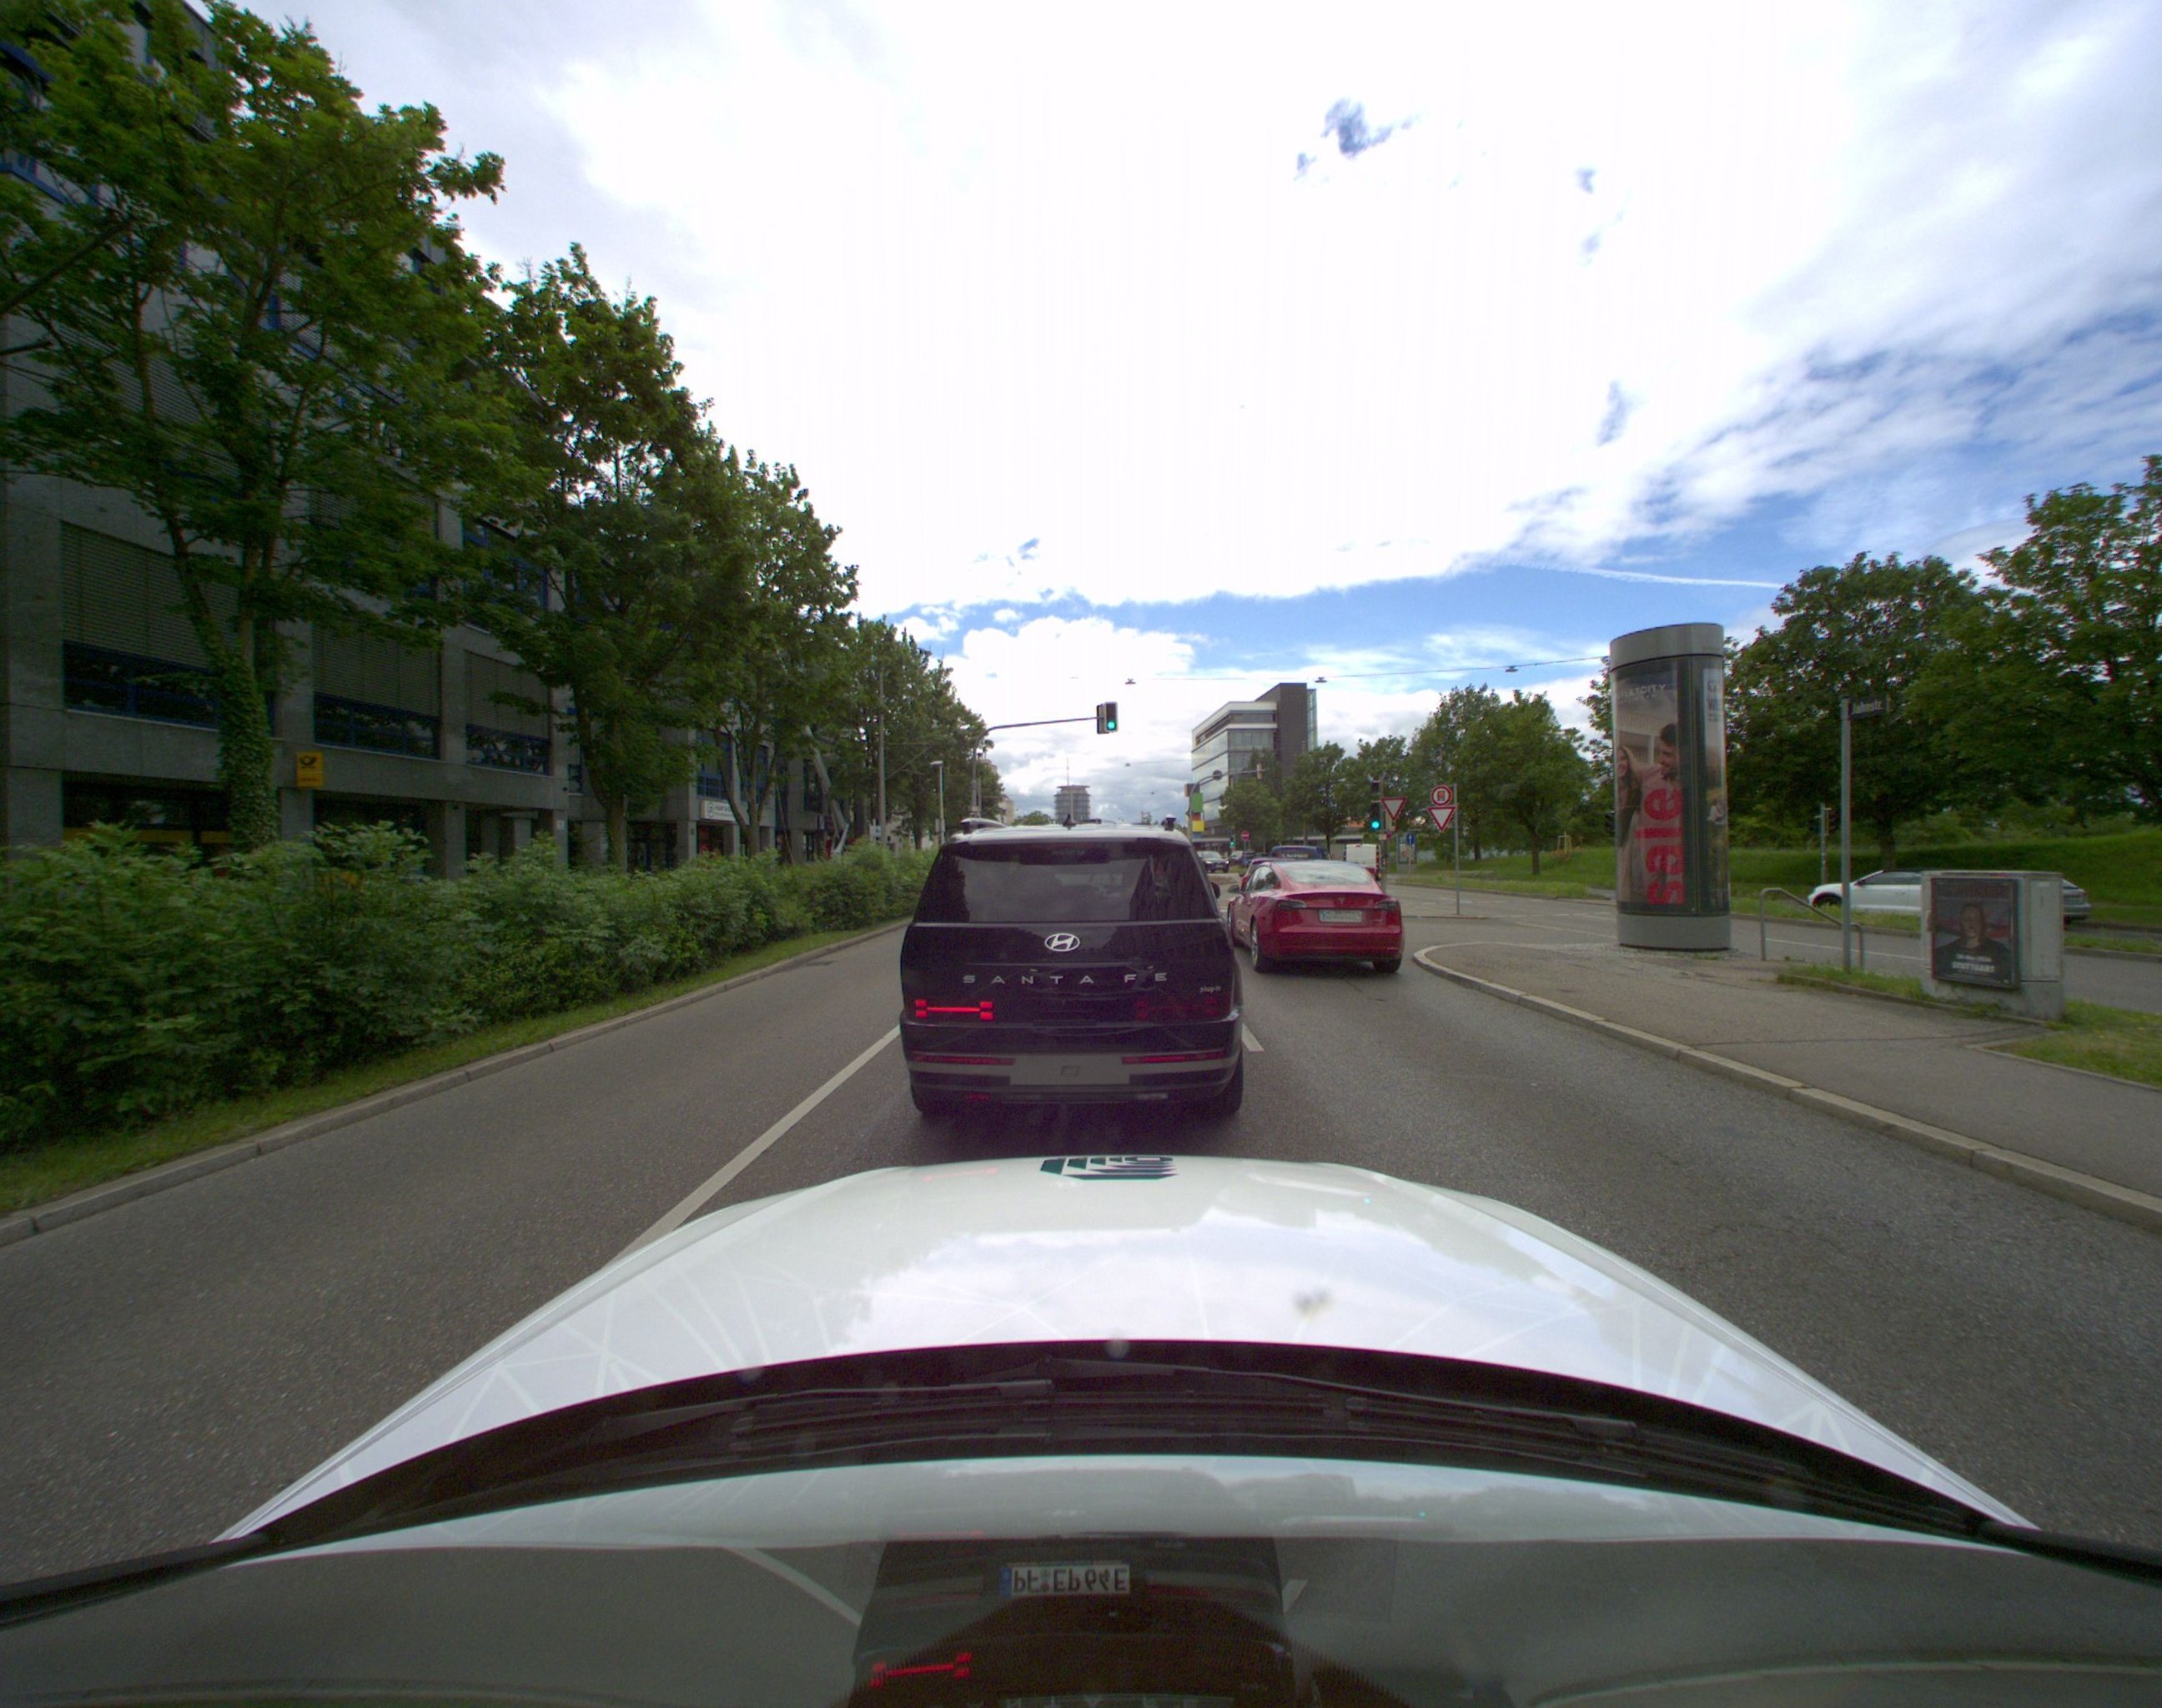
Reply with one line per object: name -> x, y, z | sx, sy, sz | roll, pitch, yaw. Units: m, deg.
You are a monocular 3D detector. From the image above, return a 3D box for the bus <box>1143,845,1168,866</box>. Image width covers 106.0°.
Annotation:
bus -> 12.109, 0.316, 133.145 | 2.958, 3.116, 9.238 | -2, -1, -1

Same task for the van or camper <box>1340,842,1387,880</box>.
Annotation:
van or camper -> 15.342, 0.337, 44.108 | 1.975, 1.917, 4.434 | 0, 1, 25

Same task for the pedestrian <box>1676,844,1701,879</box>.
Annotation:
pedestrian -> 28.920, 0.357, 38.779 | 0.539, 1.604, 0.702 | -5, 1, 0

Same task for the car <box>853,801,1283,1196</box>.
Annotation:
car -> 0.011, 0.631, 5.833 | 1.895, 1.731, 4.448 | 0, 0, 2

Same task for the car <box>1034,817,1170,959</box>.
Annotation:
car -> 0.534, 0.460, 13.709 | 1.892, 1.969, 4.644 | 0, 0, 6

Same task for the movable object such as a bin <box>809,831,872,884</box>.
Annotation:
movable object such as a bin -> -12.086, 0.167, 41.222 | 1.898, 2.531, 4.128 | 0, 0, 1

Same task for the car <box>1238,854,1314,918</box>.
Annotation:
car -> 4.923, 0.736, 20.806 | 1.733, 1.481, 3.731 | 0, 0, 12

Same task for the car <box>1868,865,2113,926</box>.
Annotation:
car -> 24.992, 1.069, 22.617 | 1.984, 1.442, 4.143 | 0, 0, -11

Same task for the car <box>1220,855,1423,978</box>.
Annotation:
car -> 3.194, 0.730, 11.755 | 1.865, 1.418, 4.447 | 0, 0, 3

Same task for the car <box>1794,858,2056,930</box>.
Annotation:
car -> 21.669, 0.943, 21.222 | 1.850, 1.529, 4.472 | 0, 1, -11

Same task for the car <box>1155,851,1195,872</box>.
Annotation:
car -> 6.729, 0.538, 58.585 | 1.782, 1.425, 4.382 | 0, 1, -9

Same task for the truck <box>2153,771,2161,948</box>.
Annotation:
truck -> 26.227, 0.157, 13.859 | 2.821, 3.925, 9.420 | 0, 0, -12

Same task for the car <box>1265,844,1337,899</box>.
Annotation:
car -> 8.115, 0.580, 29.749 | 1.885, 1.859, 4.735 | 0, 0, 23

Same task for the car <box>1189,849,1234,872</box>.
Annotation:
car -> 9.539, 0.433, 59.895 | 1.889, 1.564, 4.380 | 0, 1, -11

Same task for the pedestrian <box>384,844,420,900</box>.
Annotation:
pedestrian -> -16.411, 0.421, 19.678 | 0.364, 1.334, 0.558 | 2, 0, -3
